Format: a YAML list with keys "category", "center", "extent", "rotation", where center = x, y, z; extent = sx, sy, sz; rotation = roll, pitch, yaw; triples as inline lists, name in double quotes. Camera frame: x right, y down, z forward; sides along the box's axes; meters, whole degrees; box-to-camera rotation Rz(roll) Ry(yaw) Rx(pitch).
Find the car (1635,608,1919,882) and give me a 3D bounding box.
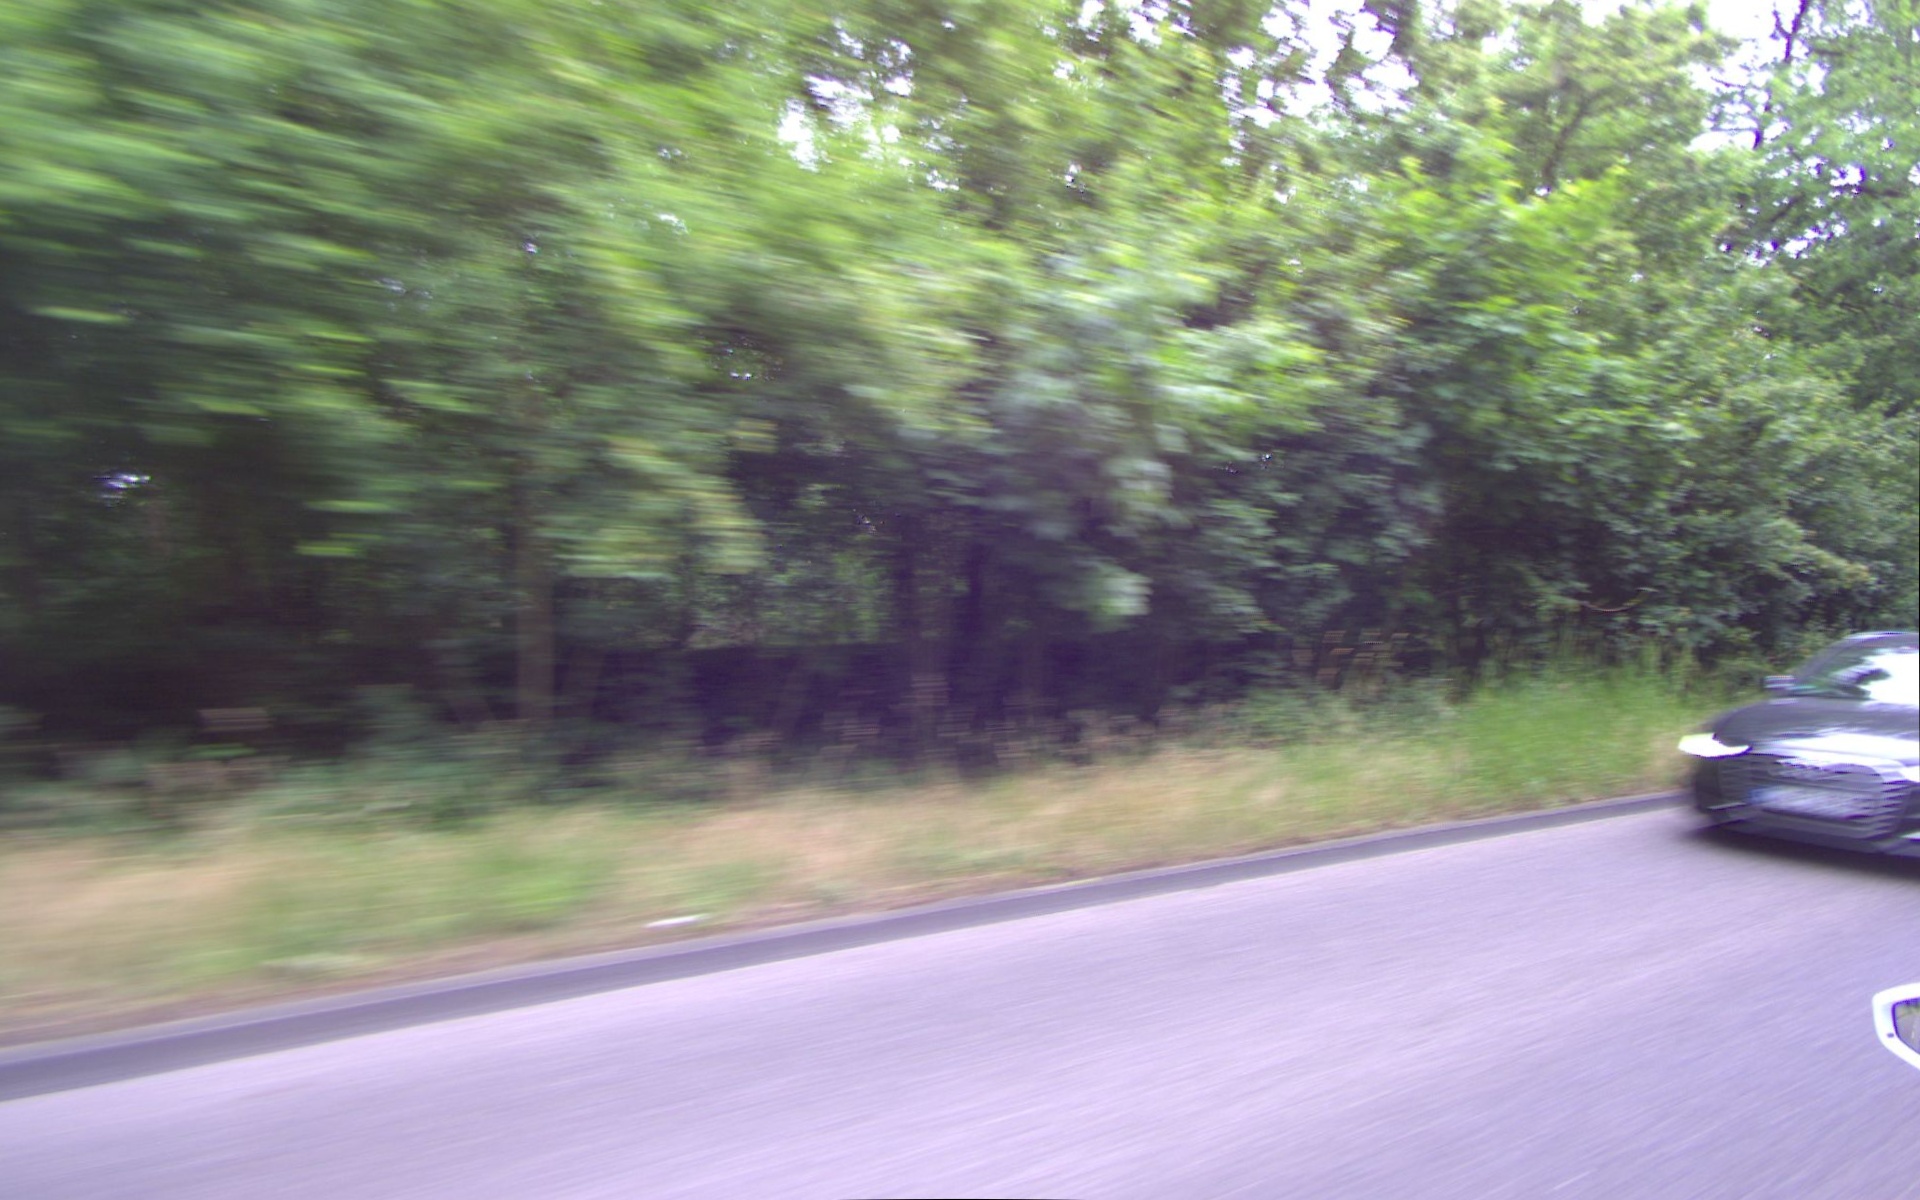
- category: "car"
  center: [7.172, 0.876, 7.303]
  extent: [4.542, 1.528, 2.019]
  rotation: [1, 0, -31]
